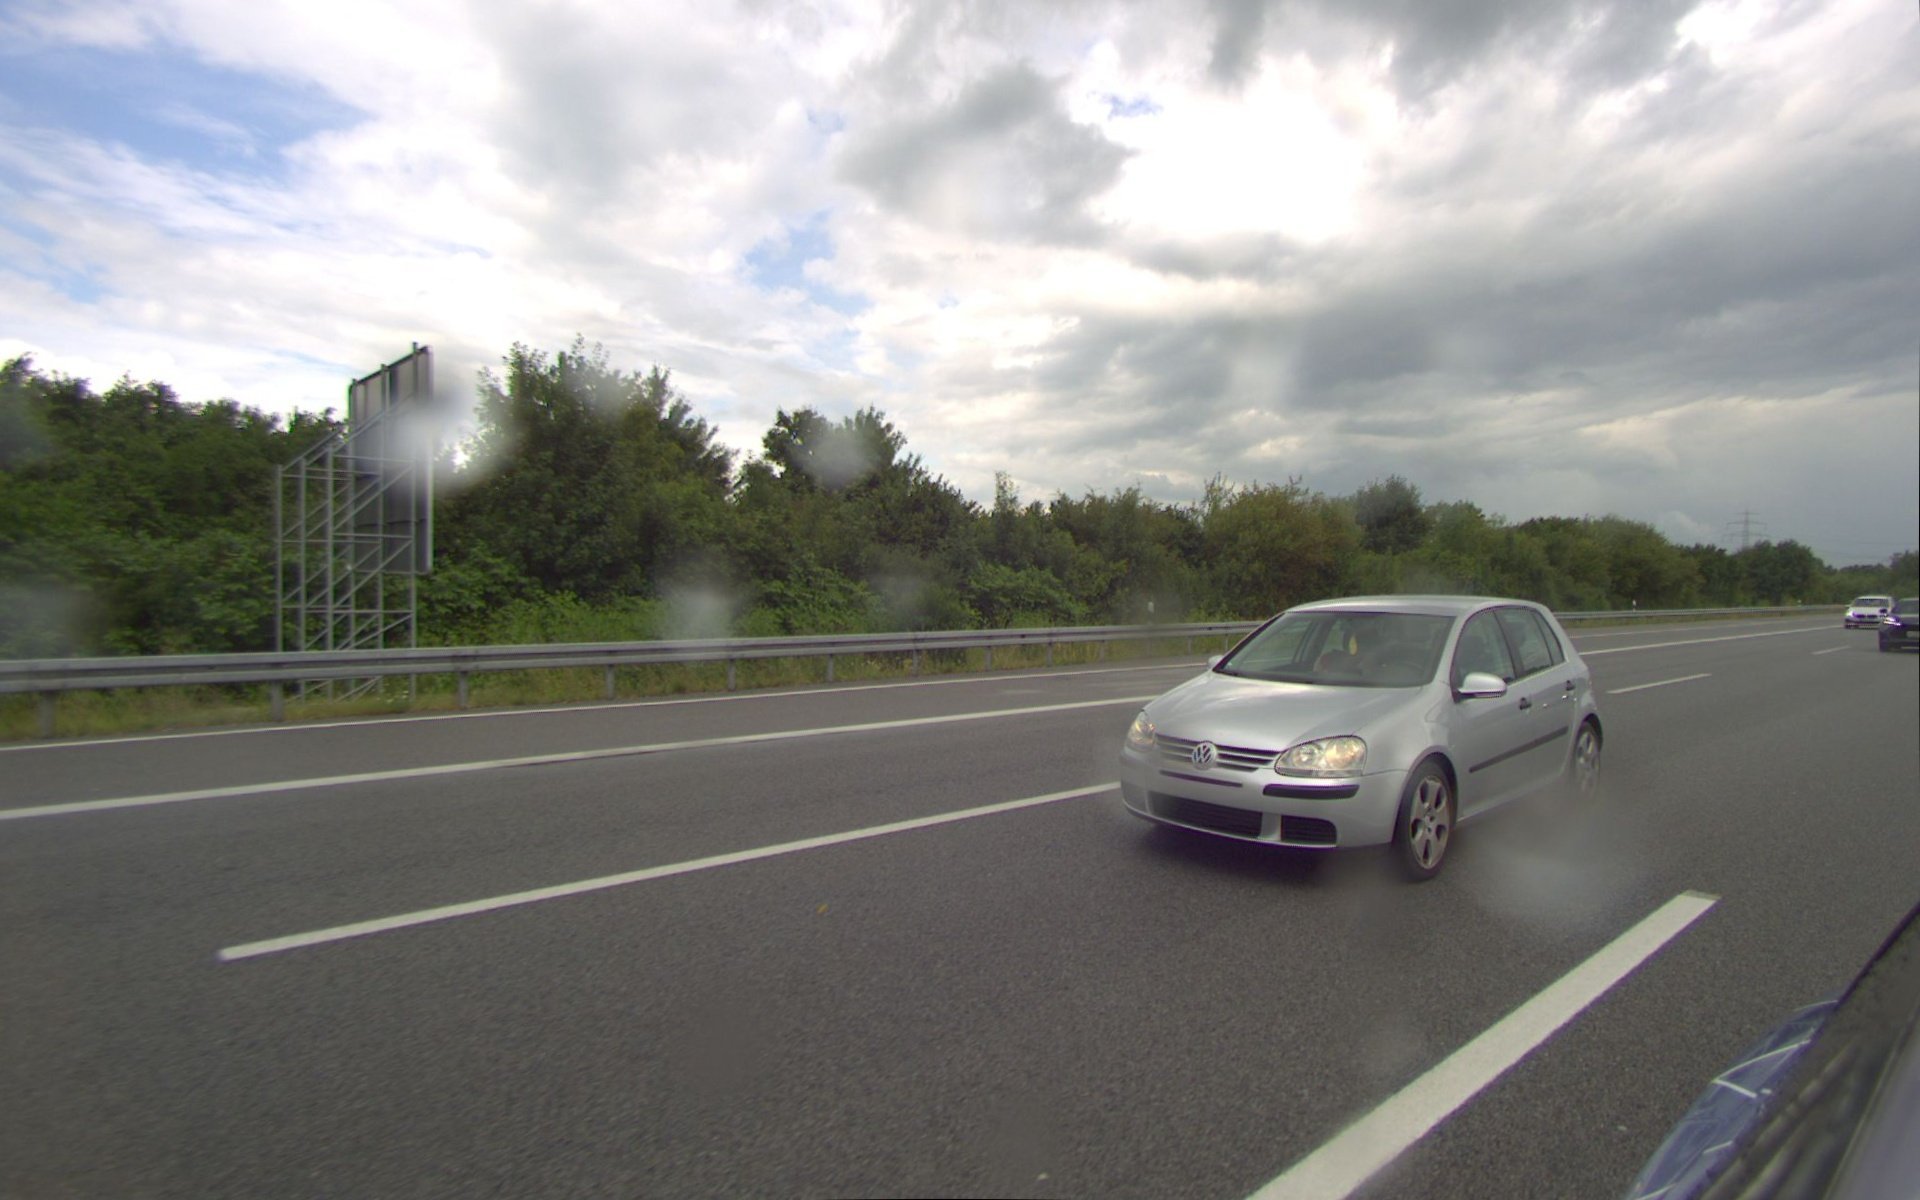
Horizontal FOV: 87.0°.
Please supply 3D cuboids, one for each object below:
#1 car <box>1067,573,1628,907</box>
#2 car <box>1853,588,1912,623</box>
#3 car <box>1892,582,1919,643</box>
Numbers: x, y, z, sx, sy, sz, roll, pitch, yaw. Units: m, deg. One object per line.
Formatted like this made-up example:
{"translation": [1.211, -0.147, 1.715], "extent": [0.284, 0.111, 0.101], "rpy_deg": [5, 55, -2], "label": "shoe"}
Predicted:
{"translation": [2.687, 0.612, 6.537], "extent": [3.968, 1.495, 1.798], "rpy_deg": [0, 1, -42], "label": "car"}
{"translation": [45.609, 0.250, 49.994], "extent": [4.617, 1.619, 1.812], "rpy_deg": [0, 1, -43], "label": "car"}
{"translation": [27.817, 0.345, 28.671], "extent": [4.520, 1.633, 1.783], "rpy_deg": [0, 1, -43], "label": "car"}
